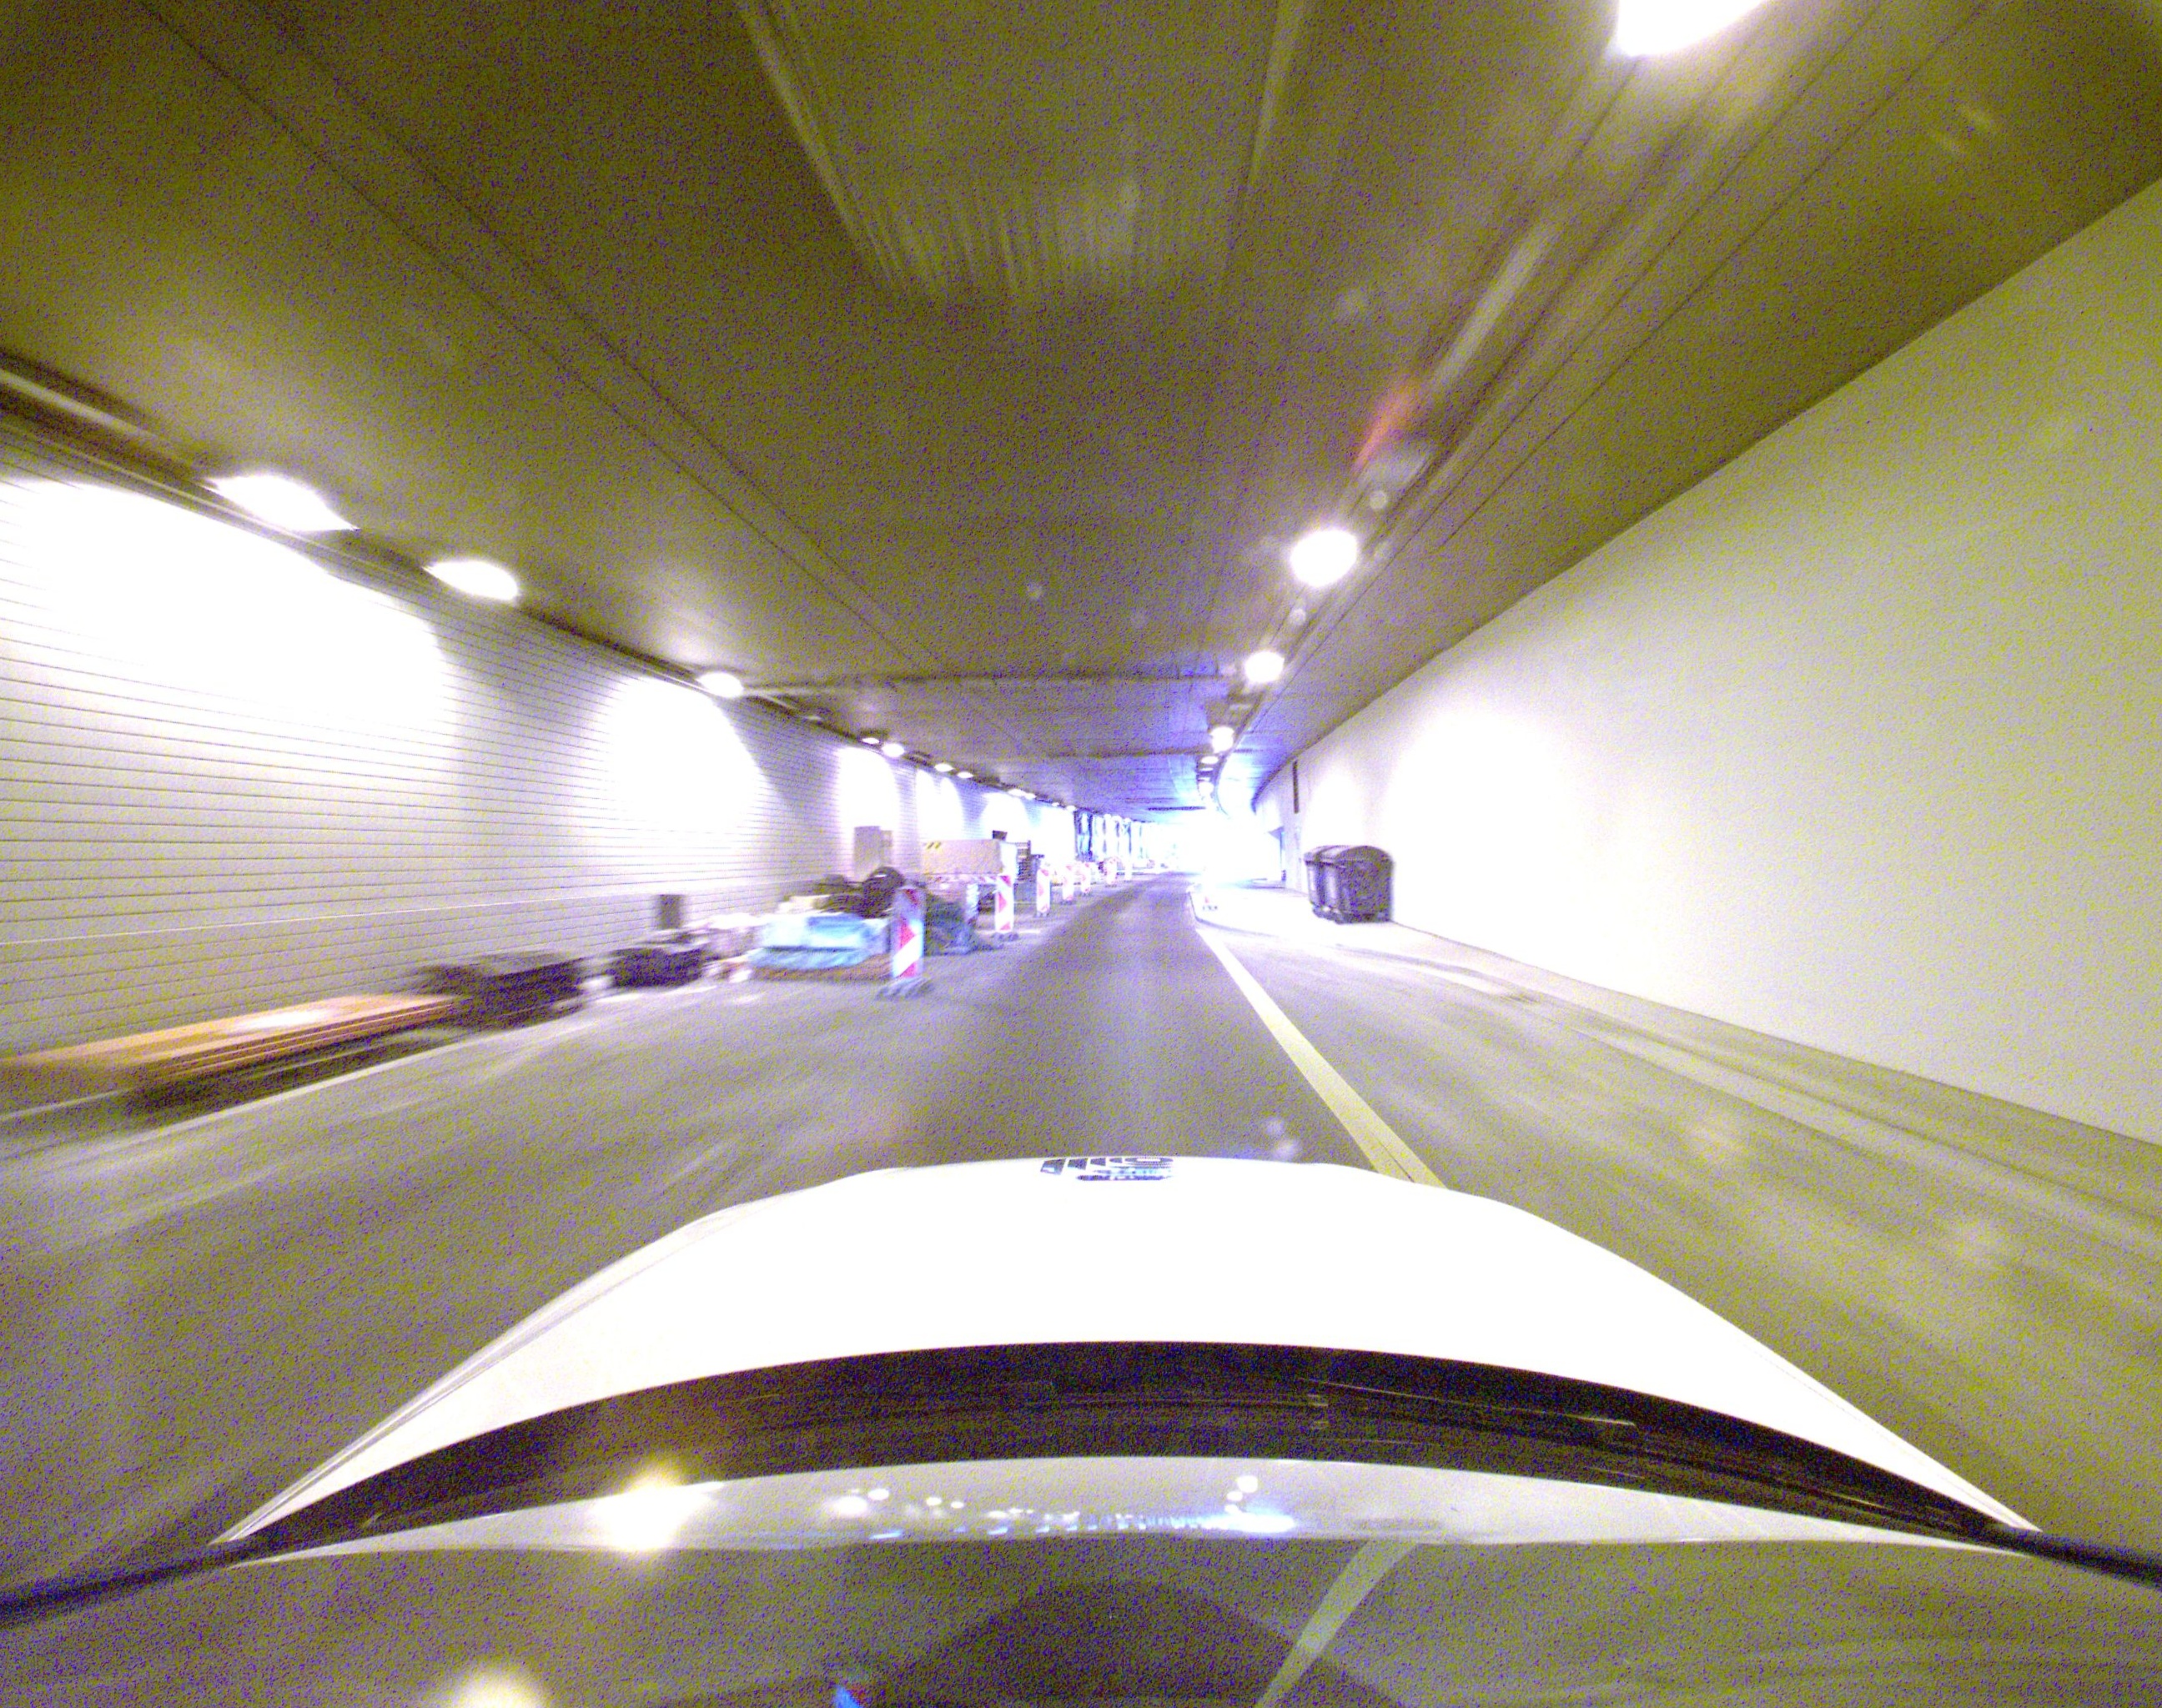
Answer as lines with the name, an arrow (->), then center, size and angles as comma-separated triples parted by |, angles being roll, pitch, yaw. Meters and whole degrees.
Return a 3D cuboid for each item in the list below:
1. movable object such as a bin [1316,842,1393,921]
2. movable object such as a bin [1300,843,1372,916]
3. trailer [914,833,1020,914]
movable object such as a bin -> 5.202, 0.511, 15.583 | 1.092, 1.445, 1.323 | -1, -1, 4
movable object such as a bin -> 5.279, 0.523, 16.970 | 1.140, 1.445, 1.365 | -1, -1, 4
trailer -> -3.028, 0.504, 22.343 | 2.199, 2.014, 3.469 | -1, -1, 3
